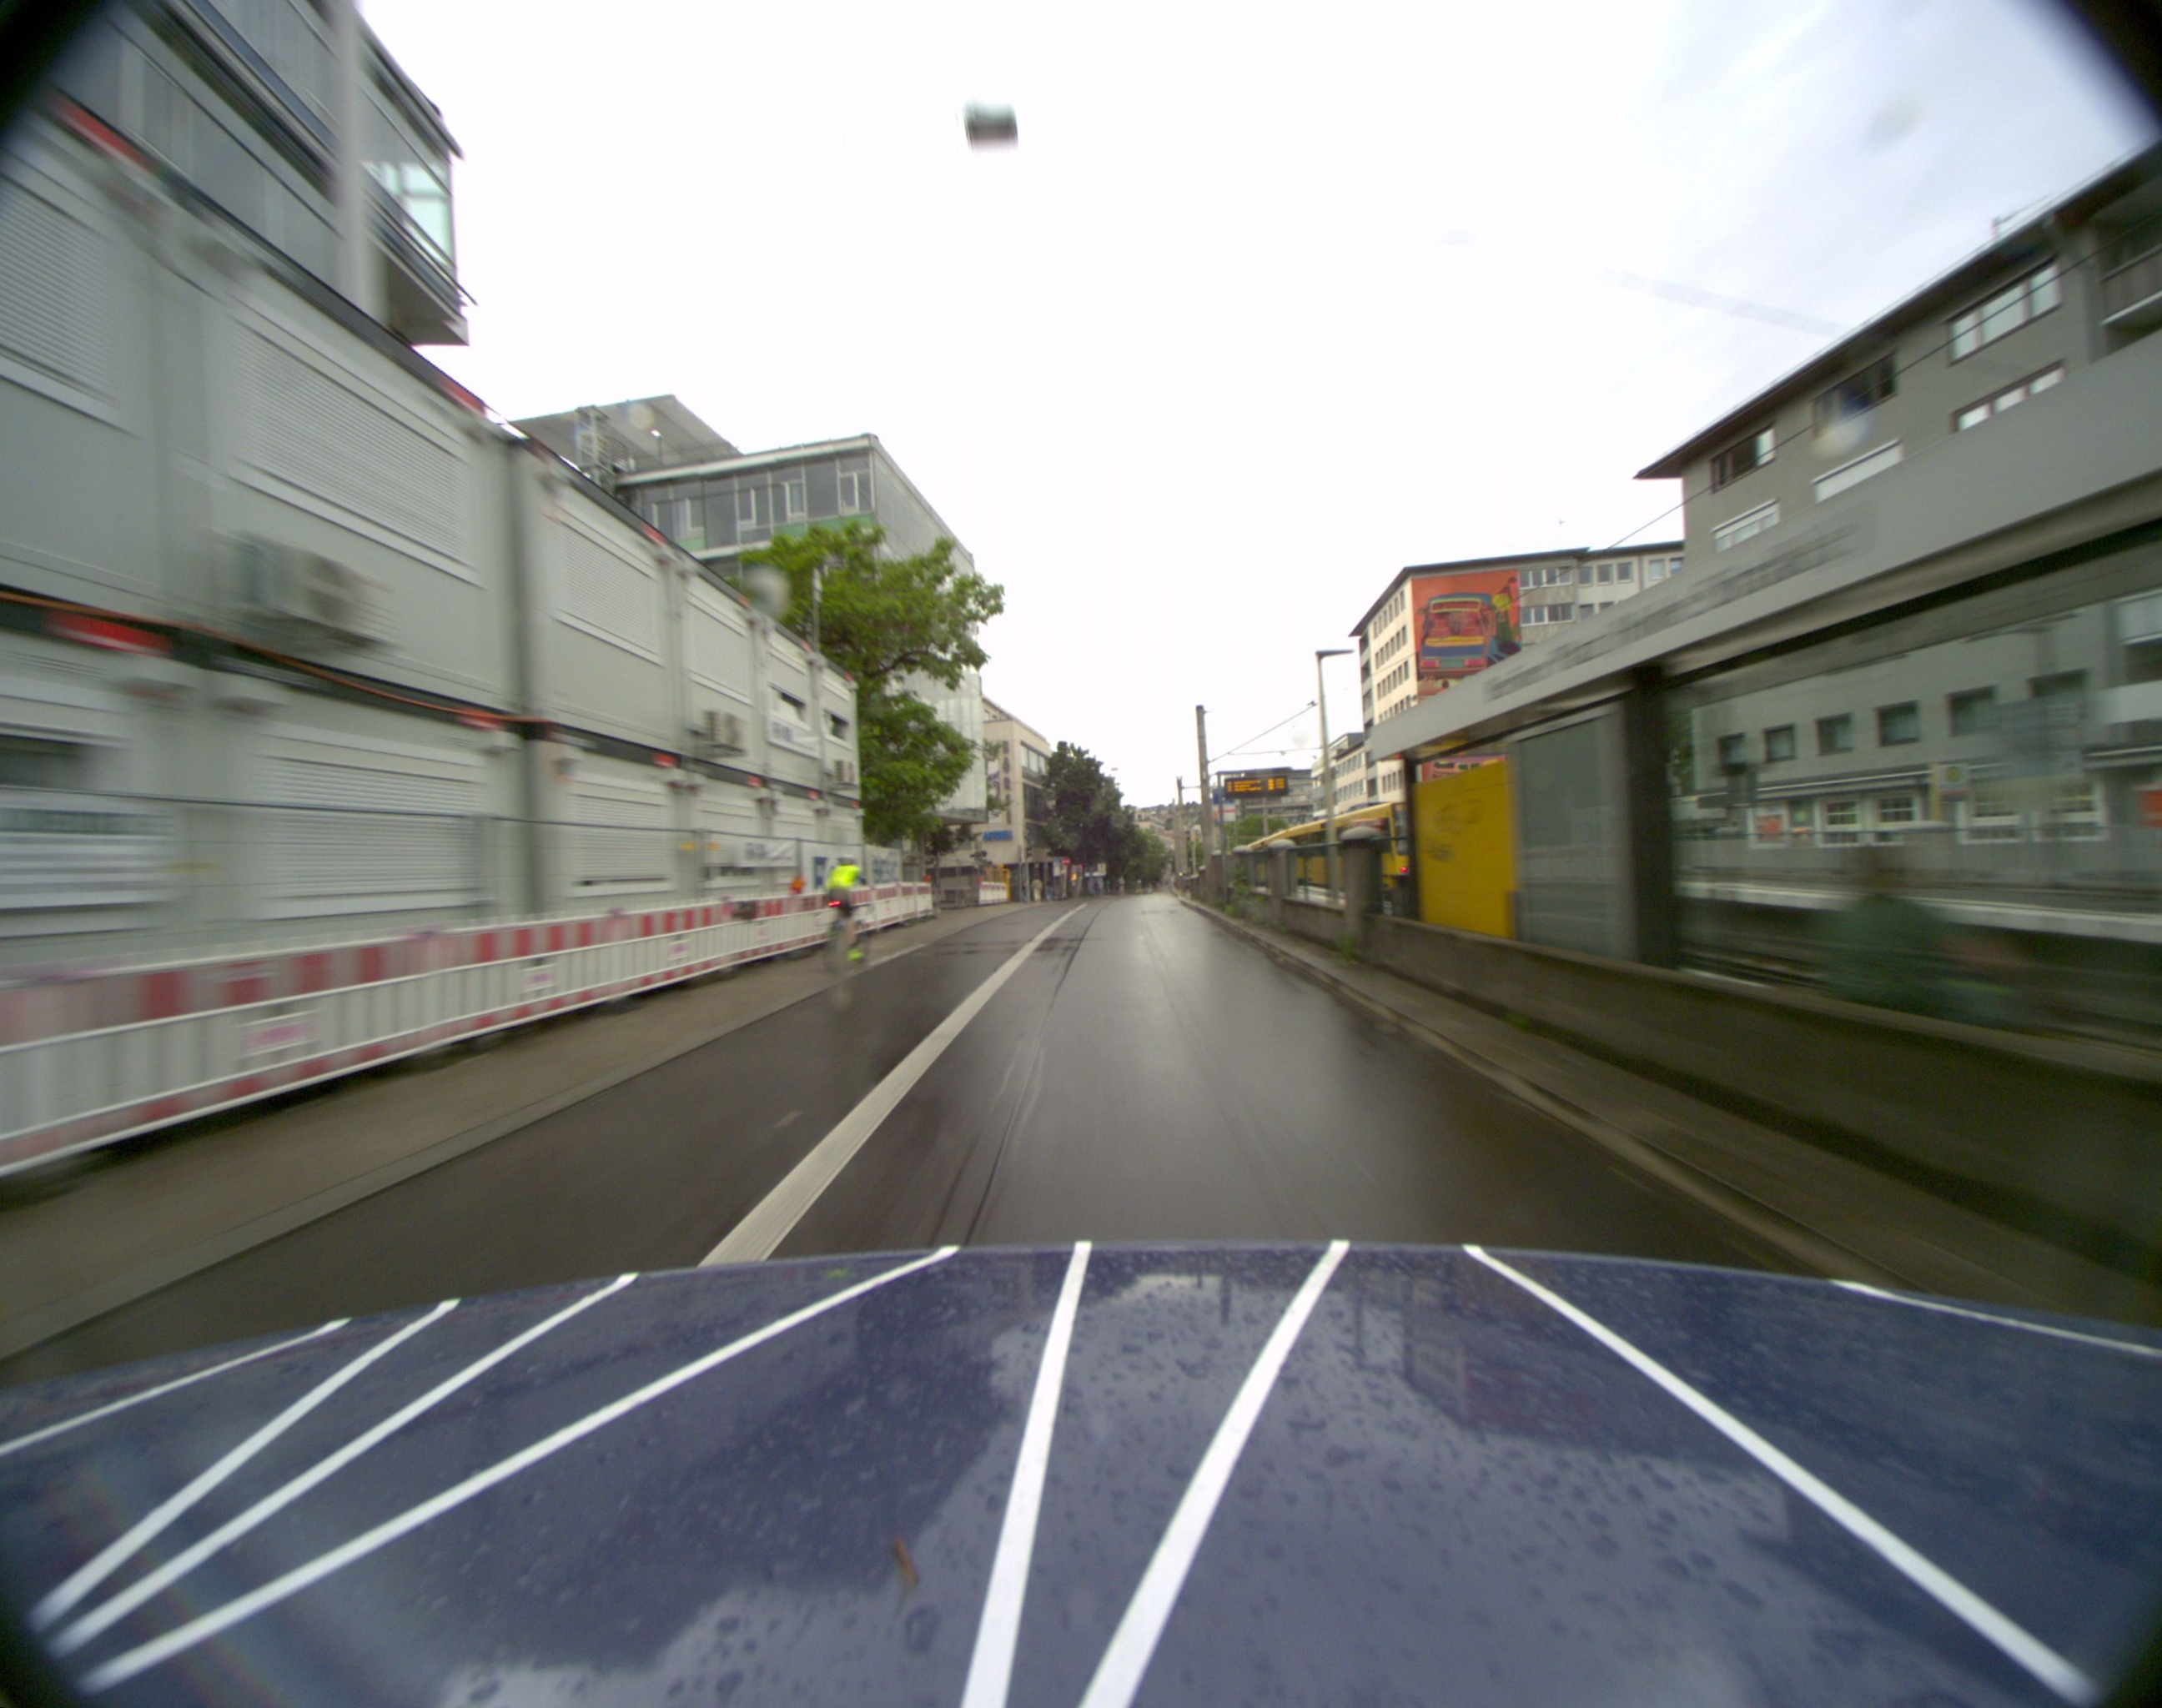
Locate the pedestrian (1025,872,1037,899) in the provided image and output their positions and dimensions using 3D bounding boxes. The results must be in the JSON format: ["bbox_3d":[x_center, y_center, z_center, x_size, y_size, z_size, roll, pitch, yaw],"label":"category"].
[{"bbox_3d":[-3.334,2.108,50.505,0.599,1.751,0.845,-3,-1,4],"label":"pedestrian"}]

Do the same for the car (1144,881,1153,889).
[{"bbox_3d":[14.044,6.444,158.586,1.619,1.454,3.592,-4,-3,7],"label":"car"}]

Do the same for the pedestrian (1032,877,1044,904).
[{"bbox_3d":[-2.832,2.379,49.836,0.720,1.751,0.959,-3,-1,-2],"label":"pedestrian"}]

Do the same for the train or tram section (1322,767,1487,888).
[{"bbox_3d":[11.900,-0.702,29.242,2.784,3.669,9.721,-4,-2,5],"label":"train or tram section"}]

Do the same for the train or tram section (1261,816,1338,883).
[{"bbox_3d":[13.632,-0.090,48.301,2.784,3.669,9.517,-4,-2,5],"label":"train or tram section"}]

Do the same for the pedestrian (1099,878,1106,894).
[{"bbox_3d":[2.232,3.348,80.211,0.559,1.613,0.485,-4,-3,8],"label":"pedestrian"}]

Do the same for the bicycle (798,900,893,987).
[{"bbox_3d":[-3.491,1.289,11.457,0.663,1.046,2.057,1,1,3],"label":"bicycle"}]

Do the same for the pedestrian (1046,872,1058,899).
[{"bbox_3d":[-1.941,2.066,50.683,0.720,1.751,0.959,-3,-1,-2],"label":"pedestrian"}]

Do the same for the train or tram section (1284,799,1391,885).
[{"bbox_3d":[12.767,-0.397,38.812,2.784,3.669,9.517,-4,-2,5],"label":"train or tram section"}]

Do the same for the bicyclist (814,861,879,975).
[{"bbox_3d":[-3.507,0.934,11.404,0.663,1.629,0.793,2,1,3],"label":"bicyclist"}]

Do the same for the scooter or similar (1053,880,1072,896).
[{"bbox_3d":[-1.426,2.623,58.523,1.385,1.172,0.511,-3,-1,-24],"label":"scooter or similar"}]

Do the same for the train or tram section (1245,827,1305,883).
[{"bbox_3d":[14.475,0.204,57.505,2.784,3.669,8.981,-4,-2,5],"label":"train or tram section"}]
